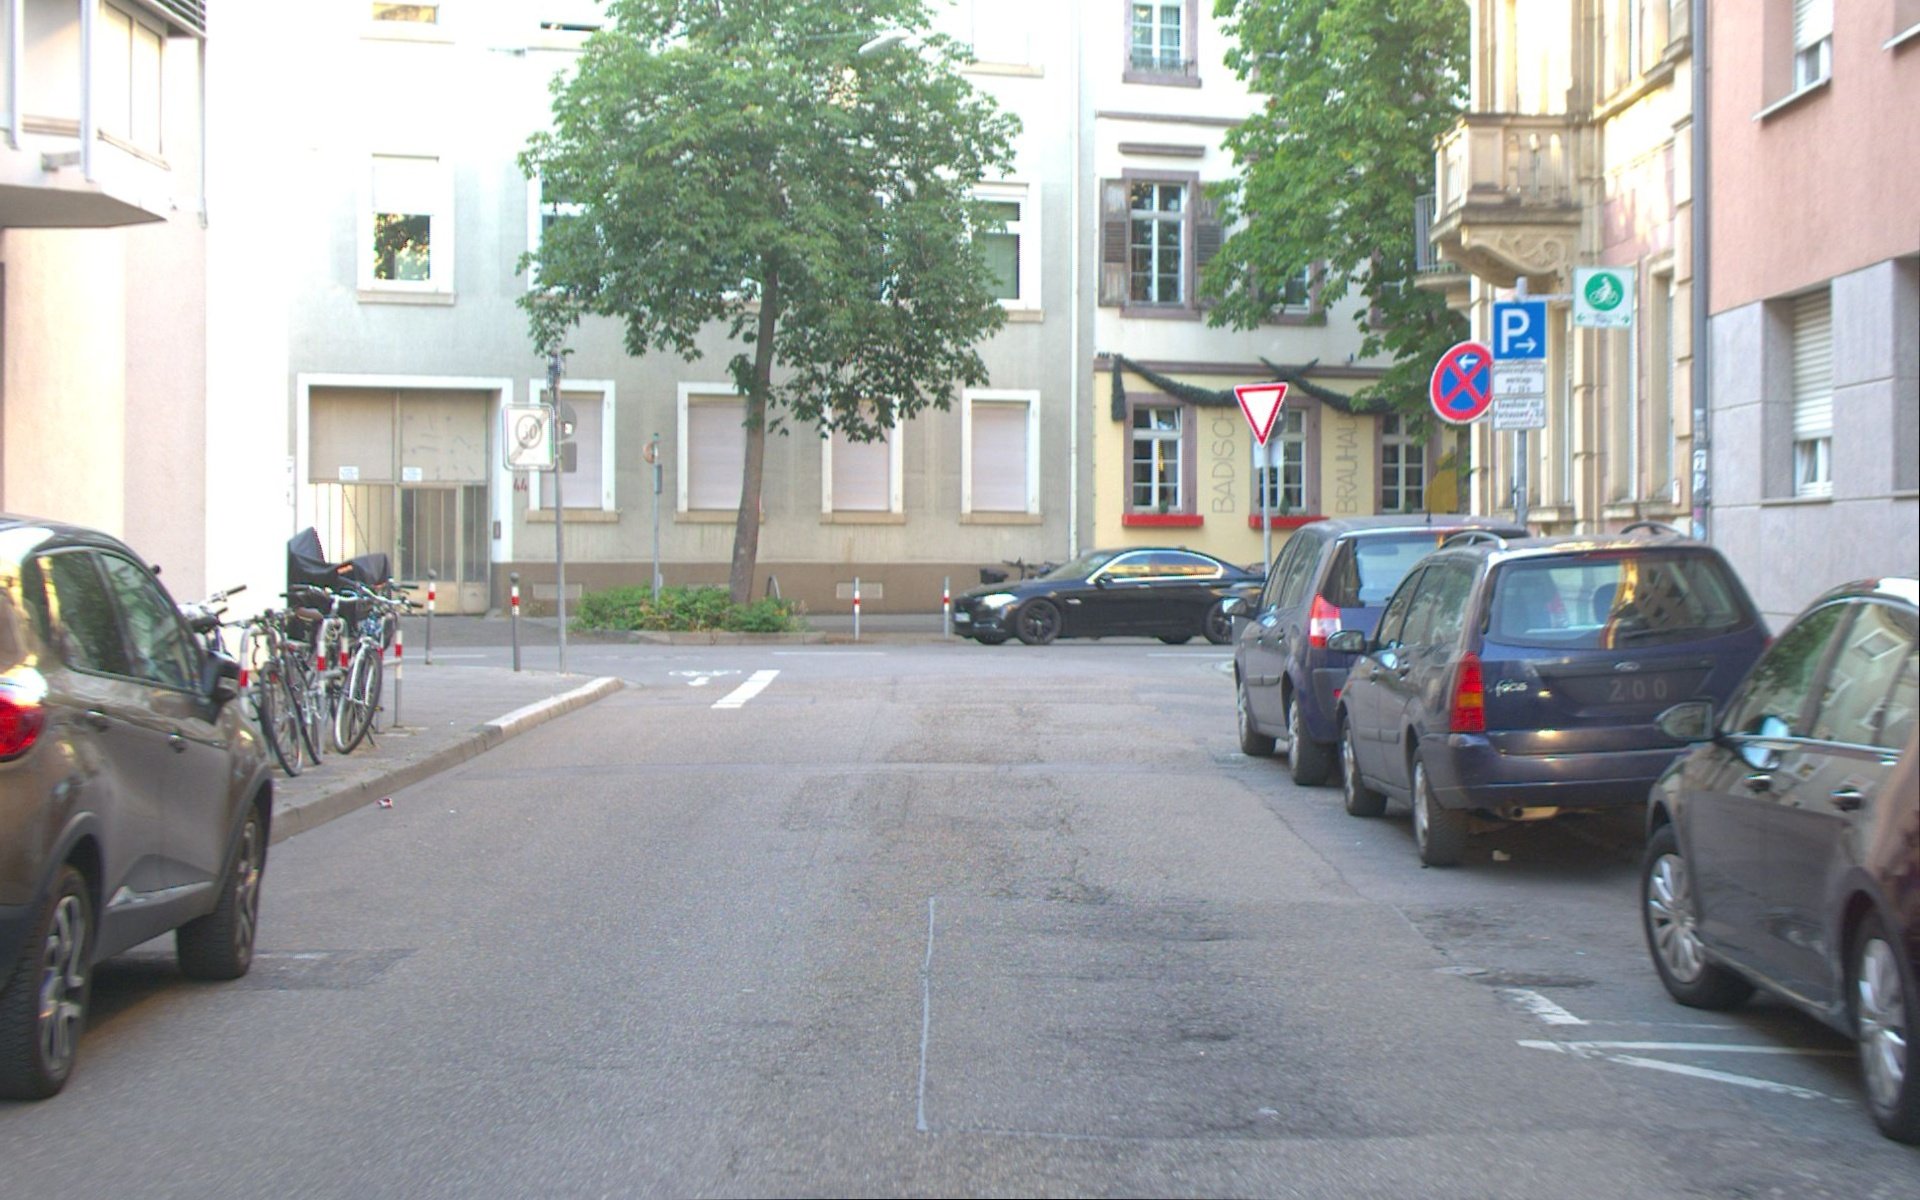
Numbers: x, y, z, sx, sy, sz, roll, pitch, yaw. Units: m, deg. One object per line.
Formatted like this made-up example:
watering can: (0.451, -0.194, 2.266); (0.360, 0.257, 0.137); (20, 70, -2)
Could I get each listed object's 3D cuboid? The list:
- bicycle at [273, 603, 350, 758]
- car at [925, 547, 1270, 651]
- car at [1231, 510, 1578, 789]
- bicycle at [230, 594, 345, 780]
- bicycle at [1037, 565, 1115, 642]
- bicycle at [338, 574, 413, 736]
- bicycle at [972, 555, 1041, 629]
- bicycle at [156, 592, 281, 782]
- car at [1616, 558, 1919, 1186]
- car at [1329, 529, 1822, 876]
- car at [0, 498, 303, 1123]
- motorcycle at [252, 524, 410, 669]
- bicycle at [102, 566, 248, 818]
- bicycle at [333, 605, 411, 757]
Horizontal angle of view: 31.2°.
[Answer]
bicycle: (-4.235, 0.506, 22.505); (0.307, 0.929, 1.813); (1, 1, -5)
car: (1.979, -0.037, 49.594); (4.651, 1.445, 1.768); (0, 1, -21)
car: (2.754, 0.246, 22.096); (1.689, 1.619, 4.055); (0, 1, 0)
bicycle: (-4.027, 0.500, 20.665); (0.307, 1.039, 1.813); (0, 1, 1)
bicycle: (1.778, 0.041, 52.906); (0.445, 1.141, 2.043); (0, 1, -21)
bicycle: (-4.218, 0.380, 24.865); (0.400, 1.098, 1.813); (1, 1, -6)
bicycle: (0.731, -0.138, 54.366); (0.445, 1.141, 2.043); (0, 1, -18)
bicycle: (-4.387, 0.492, 20.411); (0.307, 1.039, 1.813); (1, 1, 1)
car: (3.122, 0.631, 9.841); (1.689, 1.453, 4.132); (0, 1, 0)
car: (2.925, 0.407, 17.209); (1.689, 1.508, 4.283); (0, 1, 0)
car: (-3.273, 0.483, 10.650); (1.790, 1.571, 4.071); (0, 1, -2)
motorcycle: (-6.928, -0.059, 37.772); (0.667, 1.550, 2.161); (-1, 1, -42)
bicycle: (-4.066, 0.446, 17.896); (0.307, 1.218, 1.813); (1, 1, 1)
bicycle: (-3.911, 0.521, 22.931); (0.307, 0.929, 1.813); (1, 1, -3)
